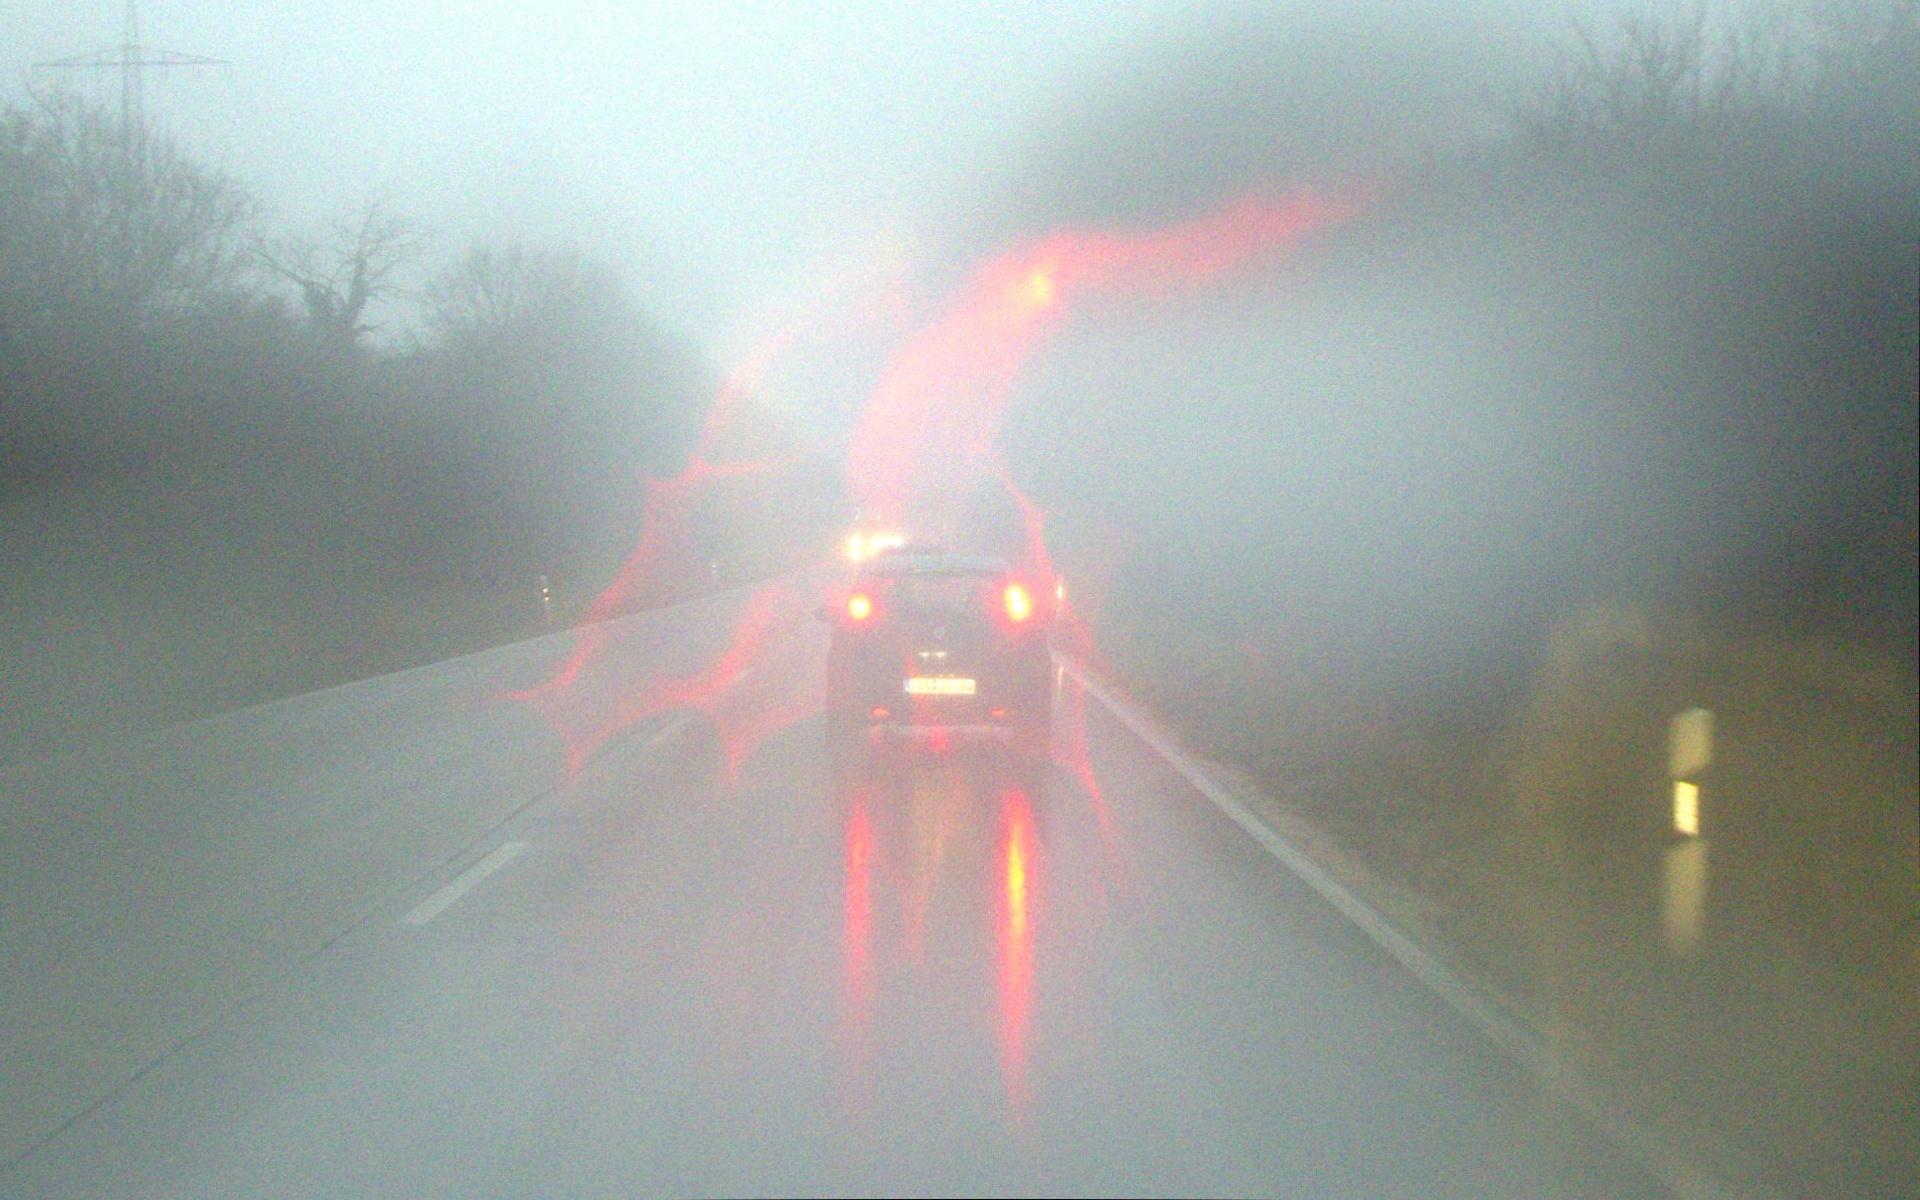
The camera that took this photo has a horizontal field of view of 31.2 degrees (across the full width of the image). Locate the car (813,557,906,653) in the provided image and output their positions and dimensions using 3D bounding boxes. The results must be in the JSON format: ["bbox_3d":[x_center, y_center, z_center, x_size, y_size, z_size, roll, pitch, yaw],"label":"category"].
[{"bbox_3d":[-1.928,0.069,66.730,1.733,1.773,4.000,1,1,-1],"label":"car"}]

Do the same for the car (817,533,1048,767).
[{"bbox_3d":[-0.217,0.336,26.550,1.648,1.666,3.514,1,1,-1],"label":"car"}]
